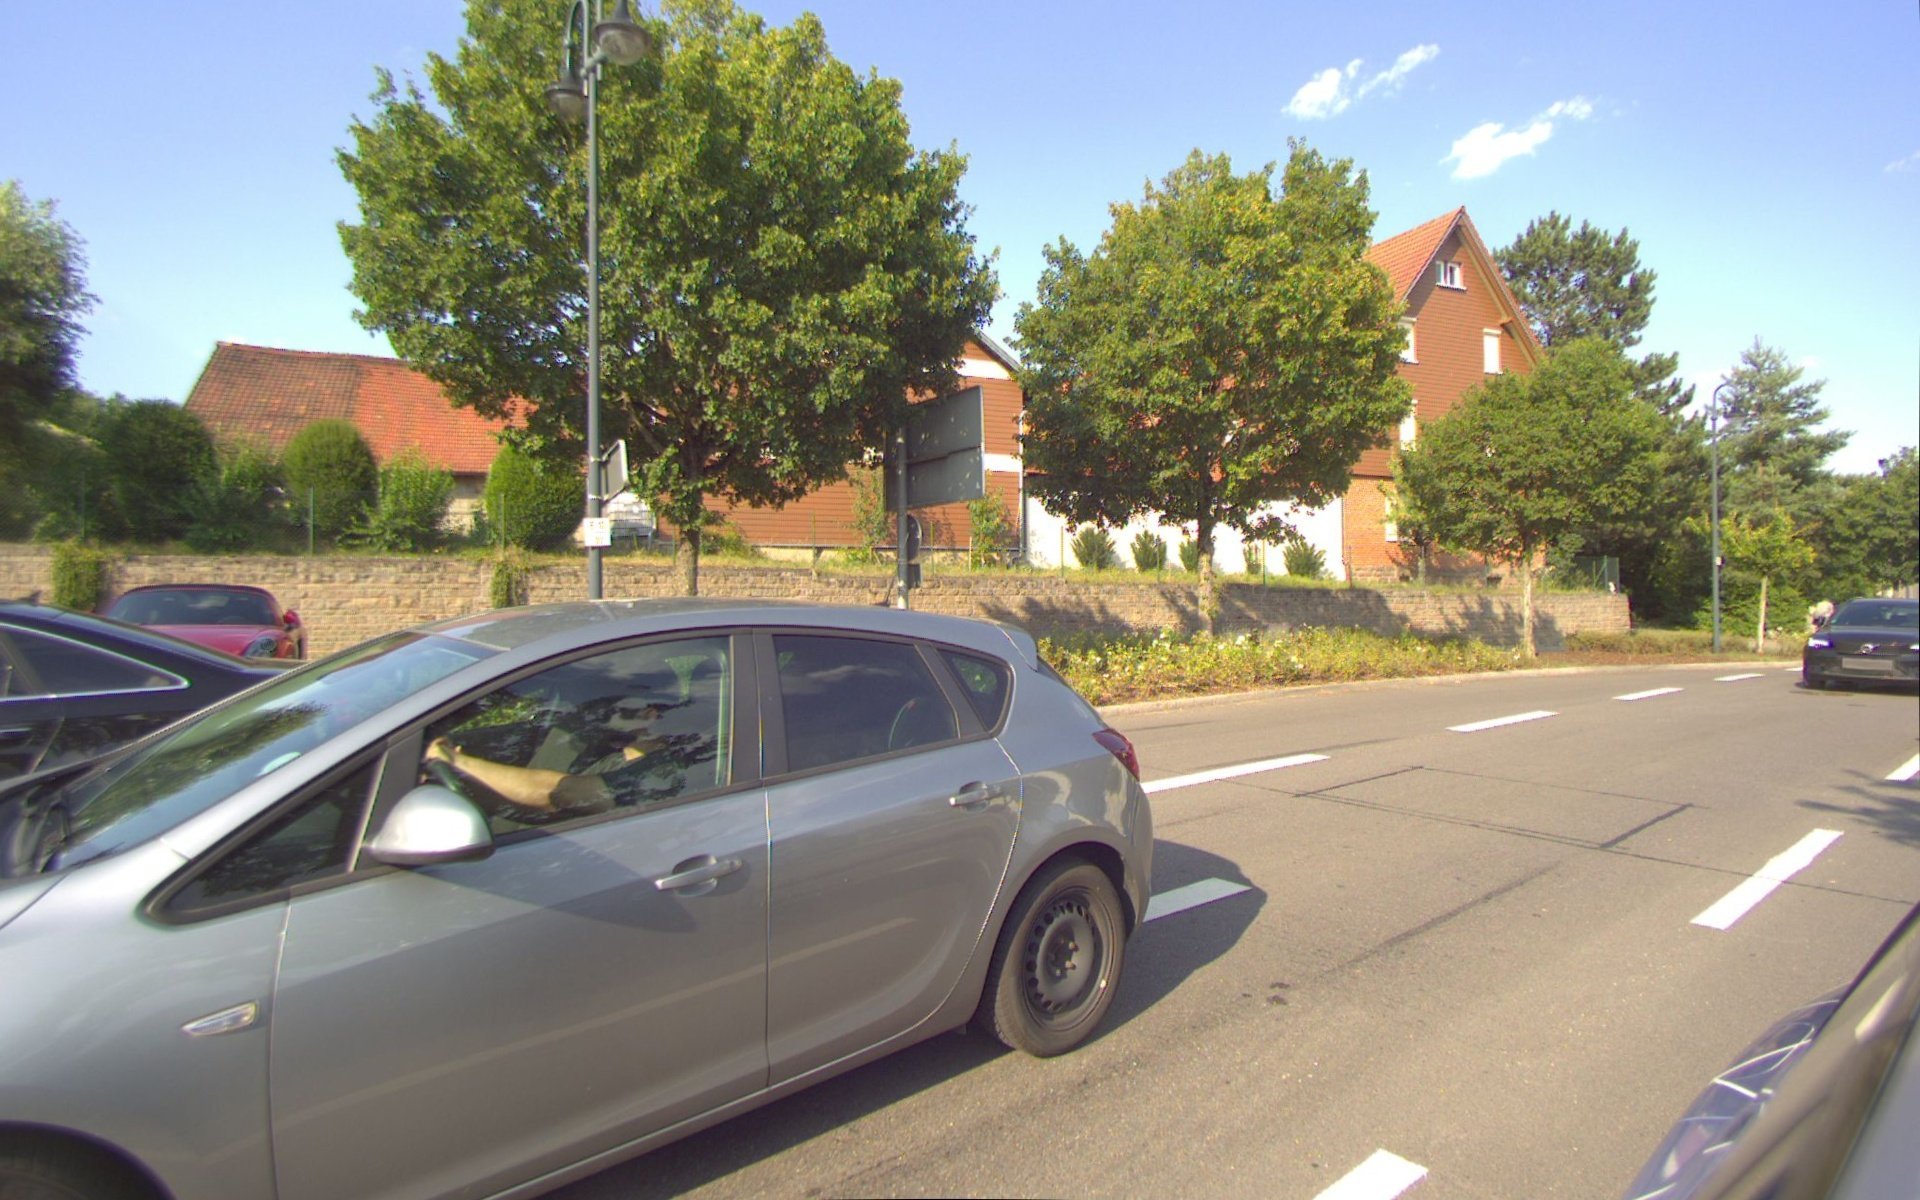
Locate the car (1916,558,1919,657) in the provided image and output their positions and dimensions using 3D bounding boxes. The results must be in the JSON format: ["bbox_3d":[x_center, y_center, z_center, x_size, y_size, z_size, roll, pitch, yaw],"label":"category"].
[{"bbox_3d":[28.015,0.193,27.461,6.083,2.579,2.369,0,0,-40],"label":"car"}]

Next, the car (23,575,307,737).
[{"bbox_3d":[-7.756,0.441,10.261,1.817,1.288,4.002,0,0,-32],"label":"car"}]

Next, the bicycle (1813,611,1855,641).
[{"bbox_3d":[31.673,0.932,36.681,1.838,1.031,0.523,0,0,-28],"label":"bicycle"}]

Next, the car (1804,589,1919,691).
[{"bbox_3d":[16.483,0.625,17.764,4.054,1.629,1.885,0,0,-40],"label":"car"}]

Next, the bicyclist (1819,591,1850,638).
[{"bbox_3d":[31.685,0.510,36.676,0.719,1.699,0.605,0,0,-28],"label":"bicyclist"}]

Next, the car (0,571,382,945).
[{"bbox_3d":[-4.995,0.614,4.003,4.507,1.453,1.685,0,0,-39],"label":"car"}]

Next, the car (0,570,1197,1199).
[{"bbox_3d":[-1.246,0.676,2.935,4.095,1.460,1.746,0,0,-42],"label":"car"}]
